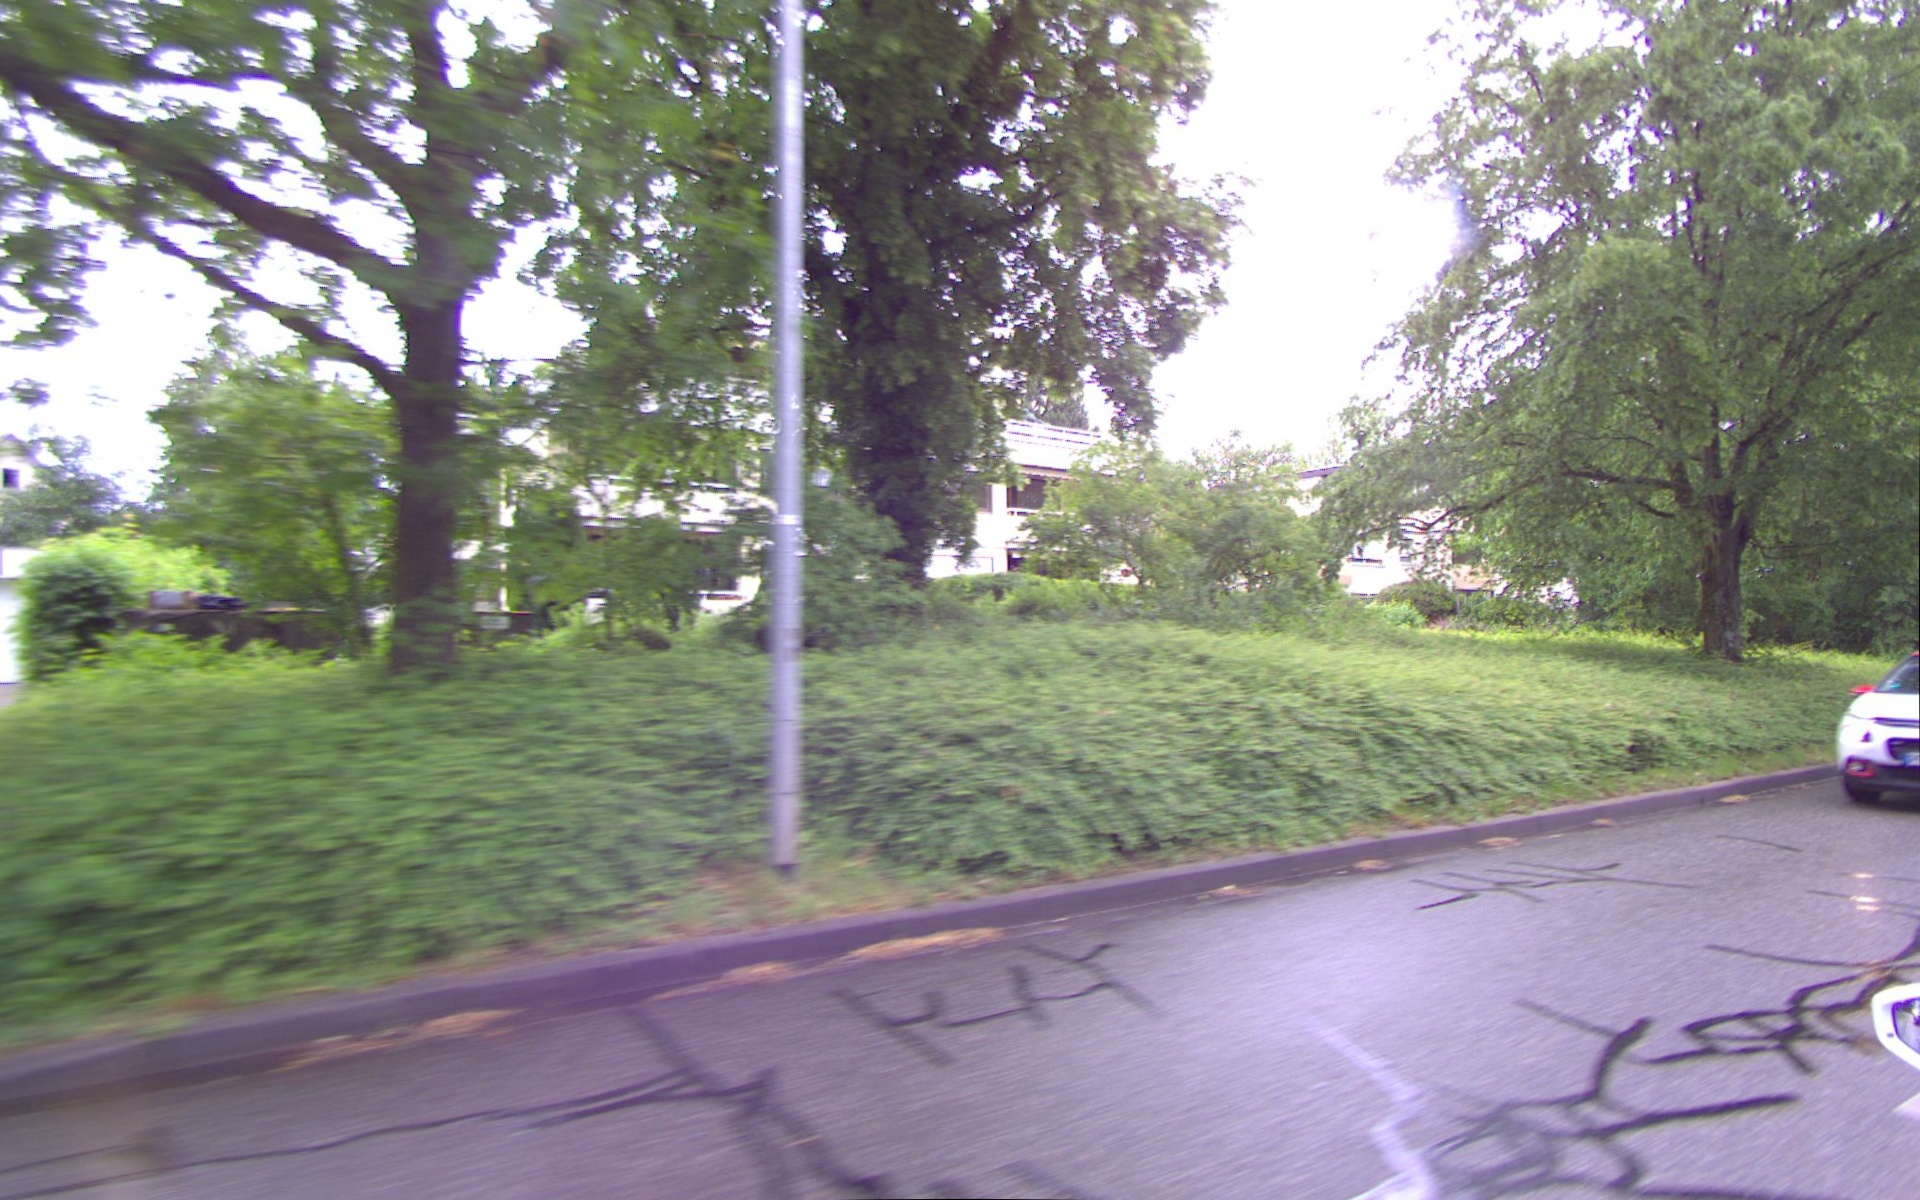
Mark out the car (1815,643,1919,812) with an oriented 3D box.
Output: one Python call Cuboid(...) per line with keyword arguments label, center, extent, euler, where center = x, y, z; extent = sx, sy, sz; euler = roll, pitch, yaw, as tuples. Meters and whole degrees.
Cuboid(label="car", center=(10.168, 1.161, 9.912), extent=(3.693, 1.496, 1.656), euler=(1, -4, -34))
